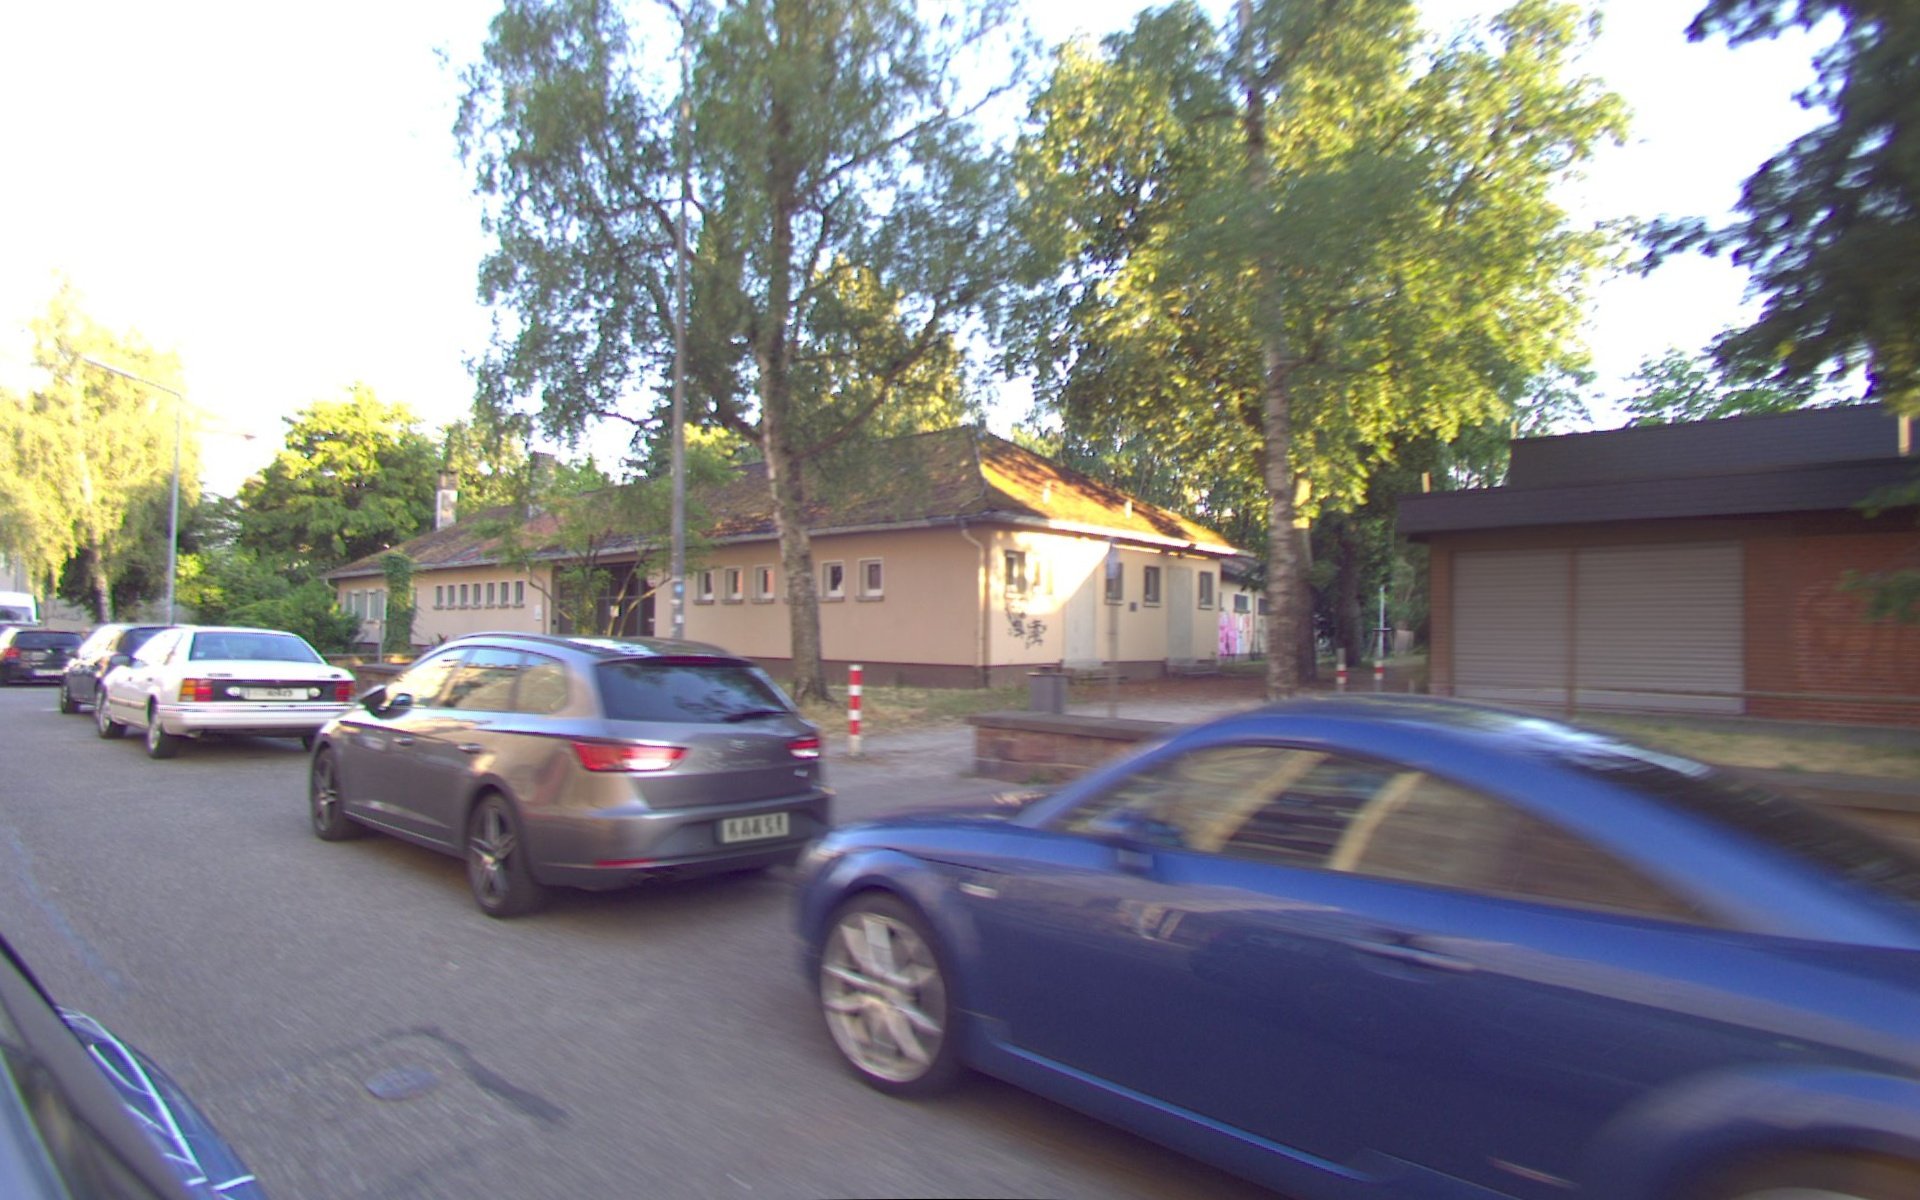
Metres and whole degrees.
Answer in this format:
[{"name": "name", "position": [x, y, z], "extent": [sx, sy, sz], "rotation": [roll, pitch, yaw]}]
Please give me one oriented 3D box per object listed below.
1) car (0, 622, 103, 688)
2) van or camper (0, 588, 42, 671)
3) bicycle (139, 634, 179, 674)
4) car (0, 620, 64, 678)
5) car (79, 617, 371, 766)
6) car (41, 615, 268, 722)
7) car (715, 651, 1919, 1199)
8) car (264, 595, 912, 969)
[{"name": "car", "position": [-22.221, 1.263, 24.306], "extent": [4.287, 1.464, 1.972], "rotation": [-1, -2, 42]}, {"name": "van or camper", "position": [-31.008, 0.930, 32.192], "extent": [6.081, 2.475, 1.972], "rotation": [-2, -3, 42]}, {"name": "bicycle", "position": [-23.613, 1.587, 29.825], "extent": [1.954, 1.126, 0.537], "rotation": [-2, -2, 41]}, {"name": "car", "position": [-26.668, 1.329, 28.234], "extent": [4.788, 1.530, 1.972], "rotation": [-1, -2, 42]}, {"name": "car", "position": [-8.938, 0.994, 12.134], "extent": [4.746, 1.457, 1.763], "rotation": [-1, -5, 41]}, {"name": "car", "position": [-12.787, 0.998, 15.998], "extent": [3.996, 1.464, 1.974], "rotation": [-1, -2, 39]}, {"name": "car", "position": [1.186, 0.858, 2.962], "extent": [4.154, 1.323, 1.641], "rotation": [-1, -4, 43]}, {"name": "car", "position": [-2.658, 0.834, 6.497], "extent": [4.756, 1.550, 1.840], "rotation": [-1, -4, 41]}]
